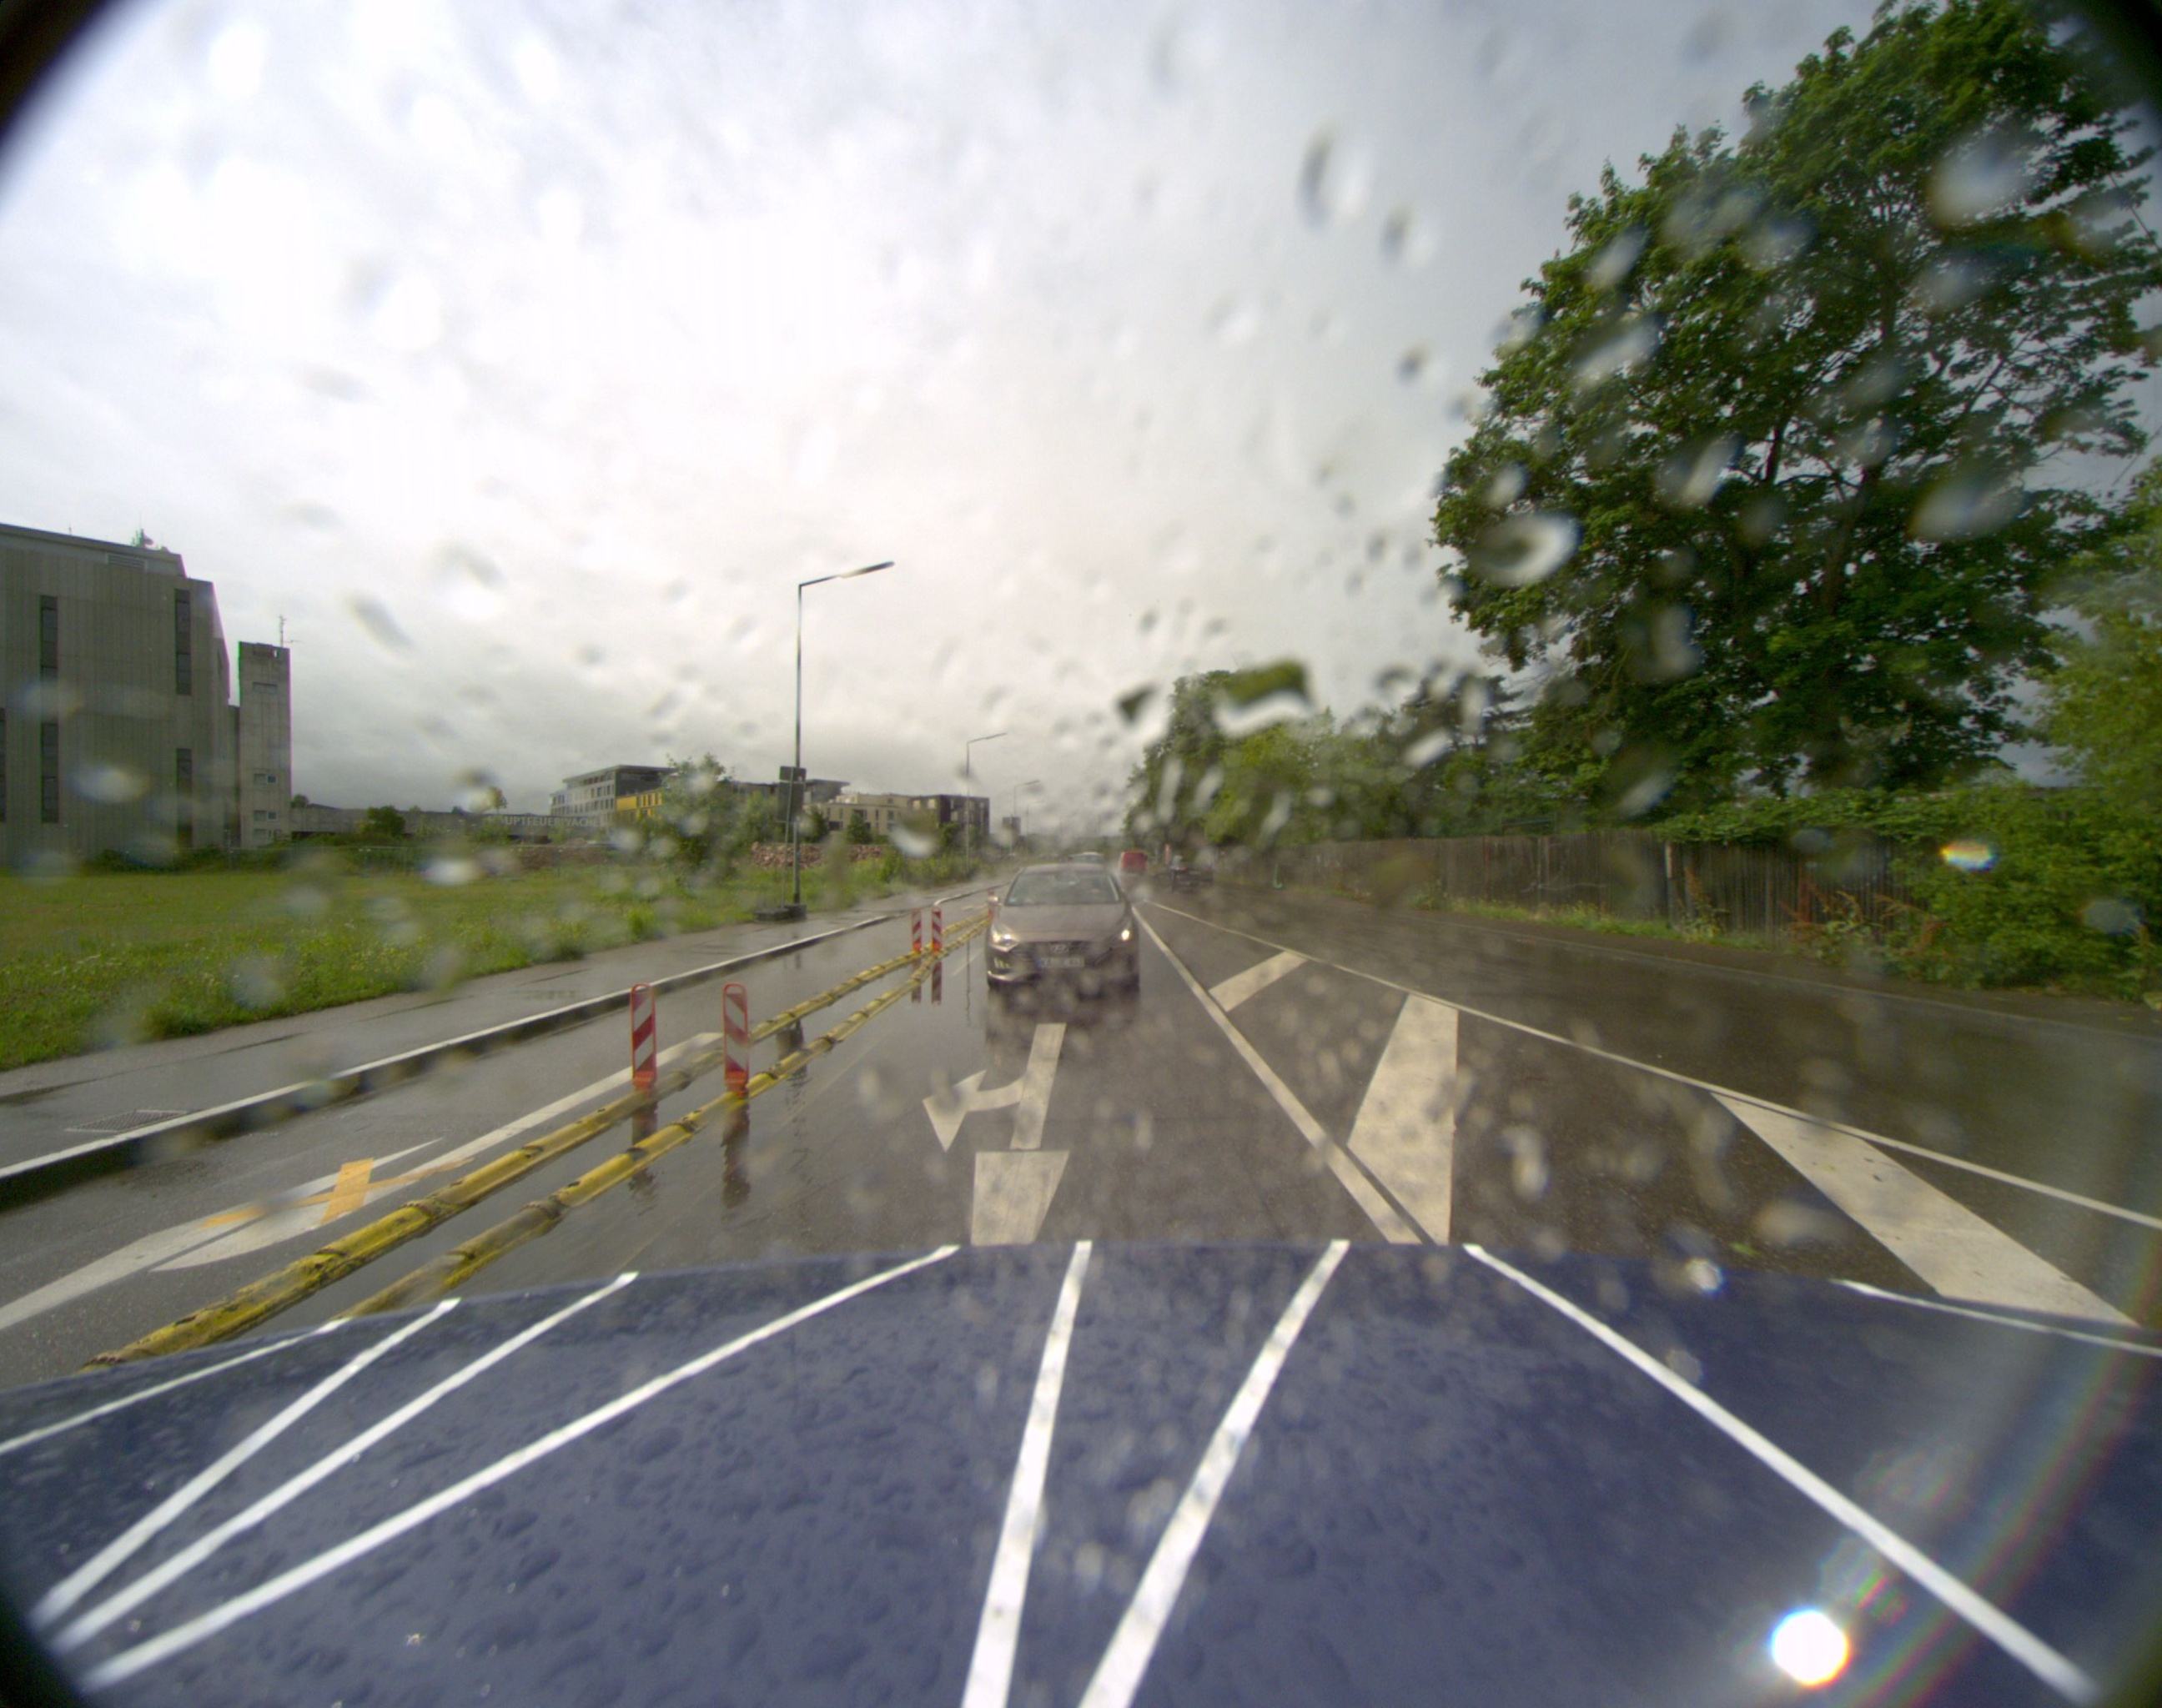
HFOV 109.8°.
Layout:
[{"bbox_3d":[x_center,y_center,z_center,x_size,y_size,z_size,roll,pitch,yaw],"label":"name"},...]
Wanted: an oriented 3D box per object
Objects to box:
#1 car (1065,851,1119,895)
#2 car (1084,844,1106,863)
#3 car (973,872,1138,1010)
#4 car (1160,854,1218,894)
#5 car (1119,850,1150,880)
[{"bbox_3d":[0.518,0.743,31.332,1.873,1.653,4.485,-1,0,5],"label":"car"},{"bbox_3d":[1.293,-0.028,72.791,1.874,1.653,4.482,-2,0,-2],"label":"car"},{"bbox_3d":[-0.159,0.979,10.104,1.734,1.405,4.129,-1,-1,3],"label":"car"},{"bbox_3d":[4.864,0.880,34.740,1.855,1.699,3.999,1,0,-4],"label":"car"},{"bbox_3d":[4.167,0.839,59.988,1.999,2.321,3.999,0,0,-2],"label":"car"}]
